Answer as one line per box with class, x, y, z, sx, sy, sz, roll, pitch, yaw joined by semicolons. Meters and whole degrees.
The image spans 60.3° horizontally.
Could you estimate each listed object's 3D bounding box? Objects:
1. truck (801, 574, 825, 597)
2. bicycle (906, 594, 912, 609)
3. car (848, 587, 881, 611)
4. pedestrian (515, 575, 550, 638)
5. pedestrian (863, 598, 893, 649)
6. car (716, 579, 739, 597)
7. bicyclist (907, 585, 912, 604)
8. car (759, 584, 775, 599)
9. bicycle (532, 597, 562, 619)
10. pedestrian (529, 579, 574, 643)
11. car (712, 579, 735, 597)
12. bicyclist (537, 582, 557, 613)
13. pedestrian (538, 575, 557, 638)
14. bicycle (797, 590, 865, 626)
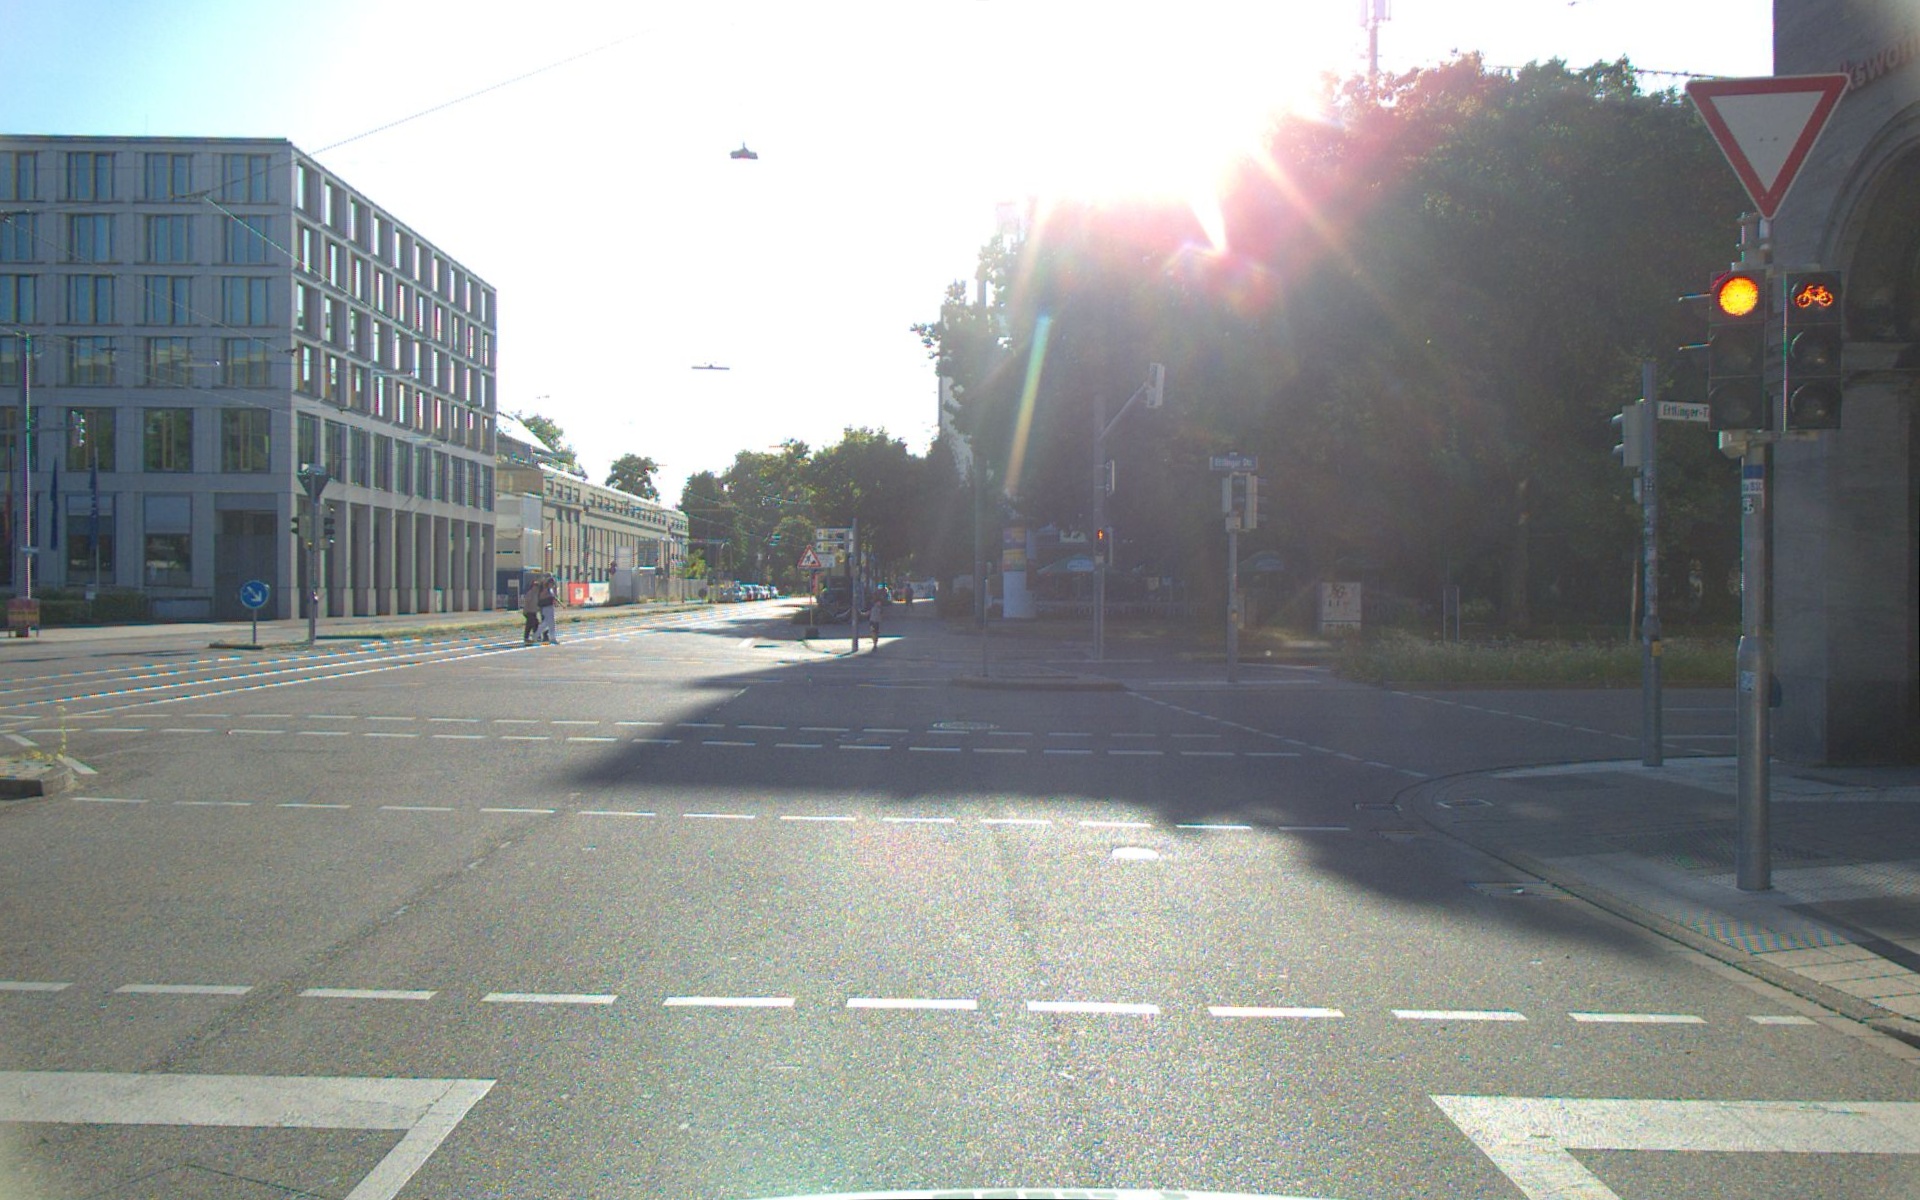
truck;-13.781;-1.386;155.327;1.876;2.129;3.999;0;0;-1
bicycle;-3.097;0.090;100.956;0.317;0.883;1.483;0;0;-1
car;-5.294;-0.065;92.074;1.783;1.301;3.998;0;0;-3
pedestrian;-11.283;0.171;43.667;0.779;1.668;0.533;0;0;2
pedestrian;-2.206;0.635;44.510;0.737;1.356;0.742;0;0;0
car;-22.422;-1.180;159.750;1.695;1.682;3.999;0;0;-1
bicyclist;-3.102;-0.335;100.998;0.312;1.147;0.291;0;0;-1
car;-22.654;-0.985;193.959;1.453;1.780;3.999;0;0;-1
bicycle;-22.122;0.409;88.628;0.857;1.140;3.013;0;0;0
pedestrian;-10.562;0.283;42.777;0.964;1.615;0.660;0;-1;1
car;-22.239;-1.102;155.644;1.695;1.682;3.999;0;0;-1
bicyclist;-22.126;-0.126;88.679;0.857;1.670;0.822;0;0;0
pedestrian;-11.103;0.182;44.528;0.432;1.692;0.376;0;0;-2
bicycle;-5.231;0.329;67.059;2.688;1.391;0.631;1;-1;10
